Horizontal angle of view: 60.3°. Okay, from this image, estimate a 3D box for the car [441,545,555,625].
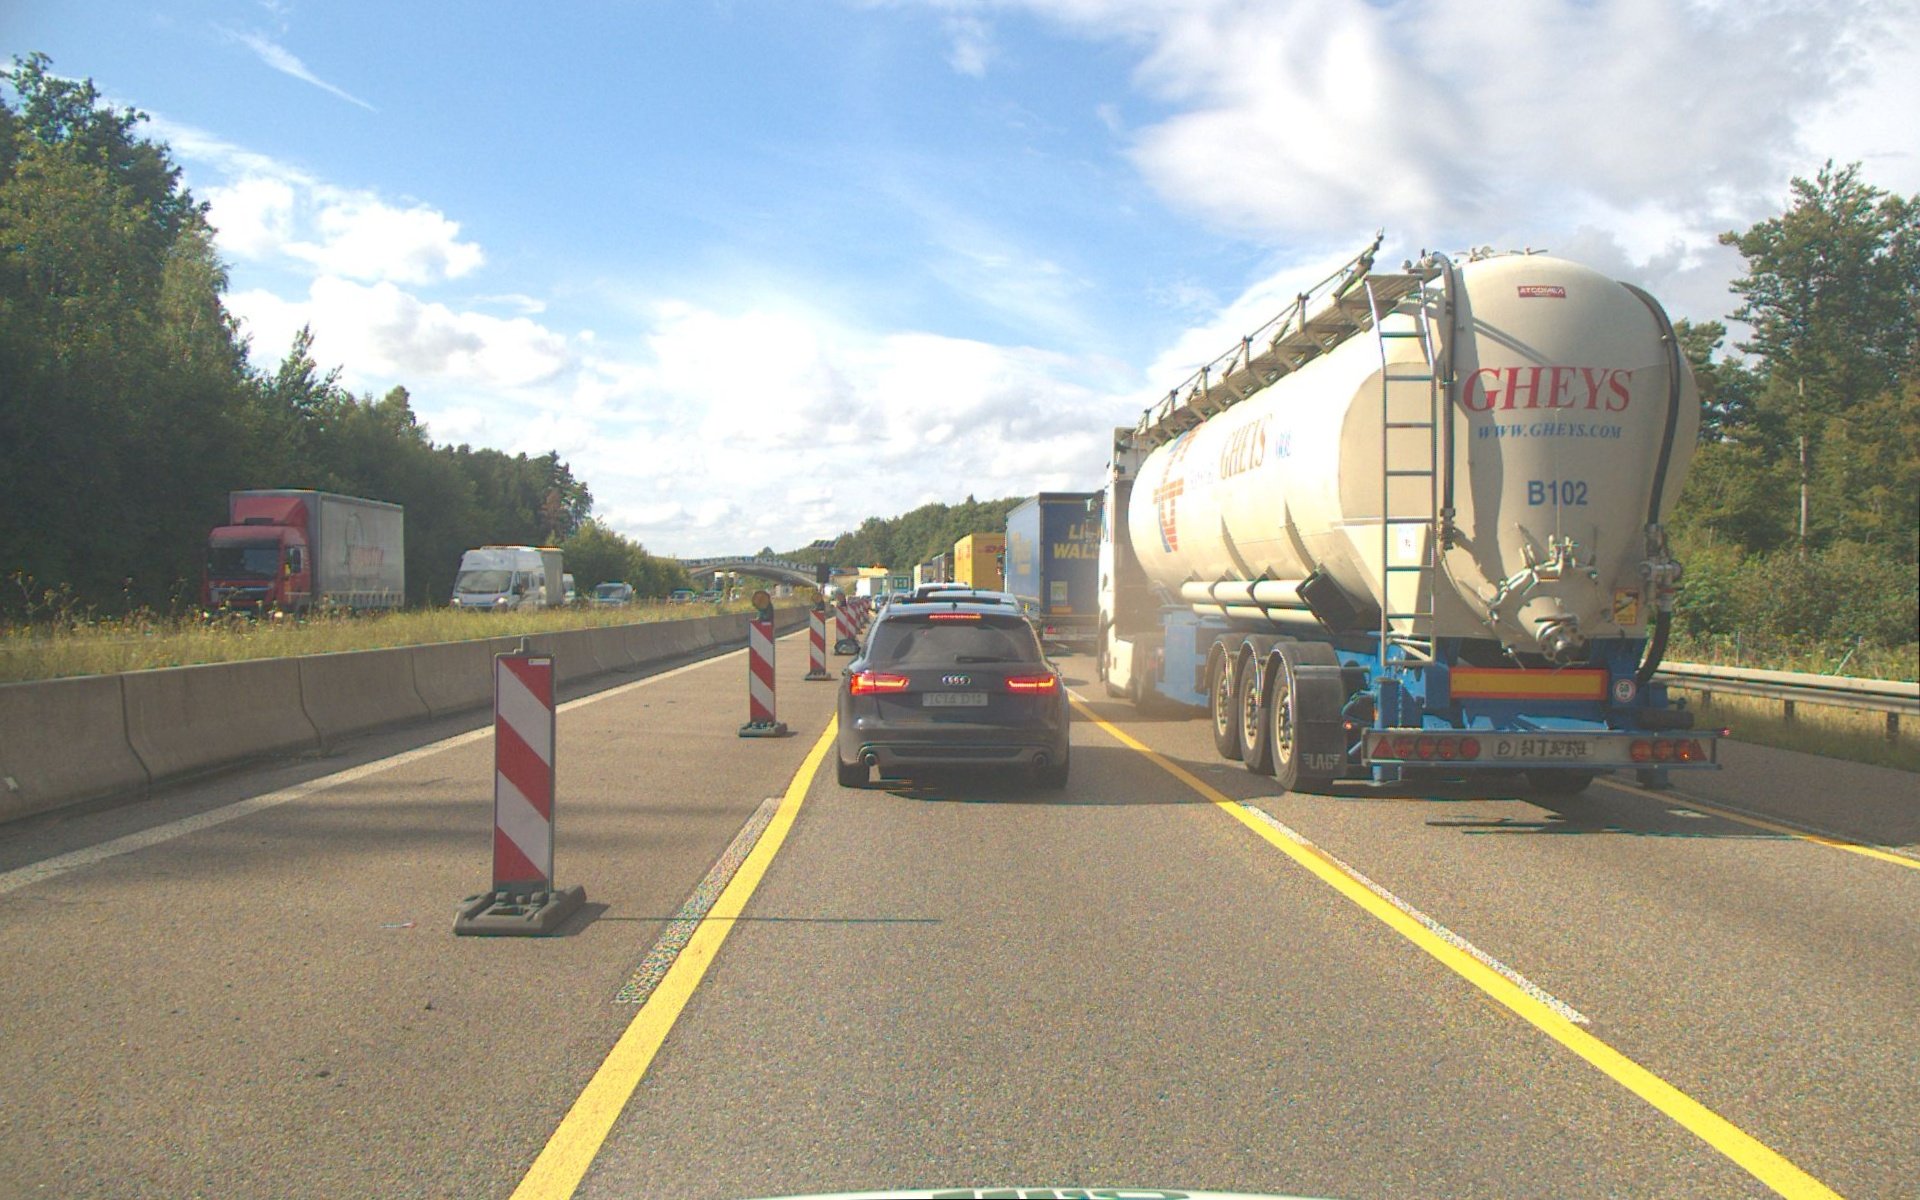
[{"bbox_3d":[-15.389,-0.501,55.460,2.116,2.494,6.330,1,0,-1],"label":"car"}]

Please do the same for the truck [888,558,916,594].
[{"bbox_3d":[-7.076,-2.873,201.463,3.238,4.248,9.696,1,0,-3],"label":"truck"}]

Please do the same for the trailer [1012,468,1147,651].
[{"bbox_3d":[3.138,-0.979,46.383,2.748,4.490,10.429,1,0,-1],"label":"trailer"}]

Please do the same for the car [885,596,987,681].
[{"bbox_3d":[-0.447,0.670,30.083,1.716,1.421,3.607,1,0,-1],"label":"car"}]

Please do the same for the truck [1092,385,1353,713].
[{"bbox_3d":[3.507,-0.620,23.499,2.605,4.041,5.777,1,0,-1],"label":"truck"}]

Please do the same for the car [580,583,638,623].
[{"bbox_3d":[-16.595,0.145,78.332,1.905,1.844,4.118,1,0,-1],"label":"car"}]

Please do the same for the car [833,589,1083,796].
[{"bbox_3d":[-0.052,0.685,14.032,1.811,1.489,3.999,1,0,-1],"label":"car"}]

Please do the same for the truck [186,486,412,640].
[{"bbox_3d":[-19.320,-1.011,49.206,2.744,4.062,10.183,1,0,-1],"label":"truck"}]

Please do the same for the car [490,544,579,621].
[{"bbox_3d":[-20.061,-0.753,78.438,2.437,3.429,7.449,1,0,-2],"label":"car"}]

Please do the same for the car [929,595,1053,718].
[{"bbox_3d":[0.351,0.698,21.842,1.493,1.464,3.284,1,0,-1],"label":"car"}]

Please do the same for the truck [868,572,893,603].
[{"bbox_3d":[-11.220,-1.737,232.039,3.239,4.248,9.694,1,0,-4],"label":"truck"}]

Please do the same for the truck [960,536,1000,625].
[{"bbox_3d":[0.884,-0.866,76.022,1.577,3.965,4.070,1,0,-2],"label":"truck"}]

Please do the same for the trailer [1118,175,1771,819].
[{"bbox_3d":[3.672,-0.650,16.735,2.590,4.012,12.594,1,0,-1],"label":"trailer"}]

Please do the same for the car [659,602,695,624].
[{"bbox_3d":[-19.050,0.856,111.528,1.743,1.411,4.309,1,0,-1],"label":"car"}]

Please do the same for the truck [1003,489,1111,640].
[{"bbox_3d":[2.990,-1.026,53.128,2.749,4.446,7.789,1,0,-1],"label":"truck"}]

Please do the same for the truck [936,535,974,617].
[{"bbox_3d":[-0.356,-1.496,105.871,1.953,5.000,9.557,1,0,-3],"label":"truck"}]

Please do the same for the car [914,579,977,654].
[{"bbox_3d":[-0.390,0.429,43.319,1.549,1.869,3.111,1,0,-1],"label":"car"}]

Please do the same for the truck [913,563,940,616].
[{"bbox_3d":[-2.817,-0.859,138.949,2.094,4.332,7.069,1,0,-2],"label":"truck"}]

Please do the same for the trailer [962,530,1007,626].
[{"bbox_3d":[1.021,-0.899,72.265,1.584,3.987,6.486,1,0,-2],"label":"trailer"}]
